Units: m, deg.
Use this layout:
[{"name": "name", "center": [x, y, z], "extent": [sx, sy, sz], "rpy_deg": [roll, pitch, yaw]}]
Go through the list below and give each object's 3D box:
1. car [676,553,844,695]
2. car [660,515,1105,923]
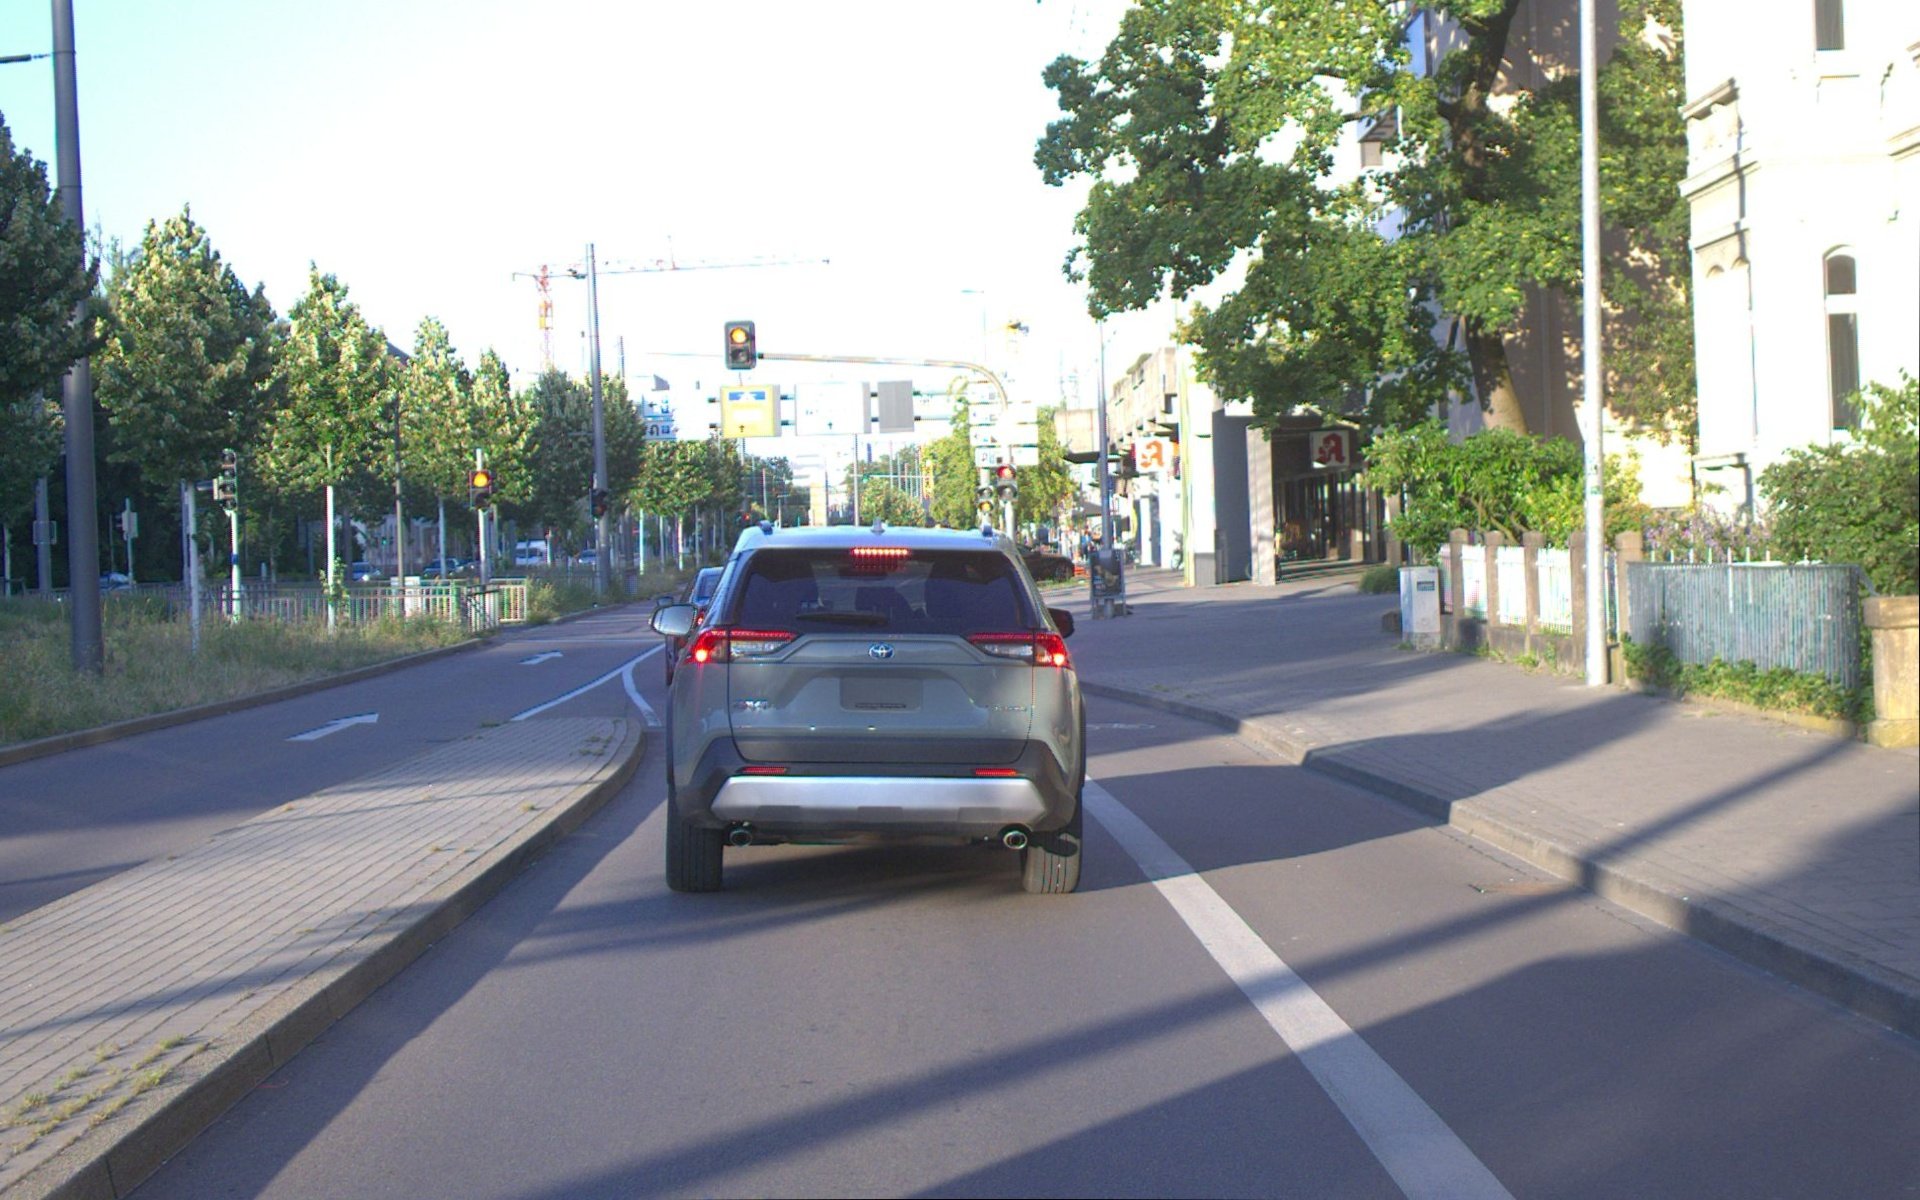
[{"name": "car", "center": [-2.304, 0.239, 40.133], "extent": [1.857, 1.546, 4.110], "rpy_deg": [0, 1, -2]}, {"name": "car", "center": [-0.411, 0.465, 16.487], "extent": [1.857, 1.708, 4.193], "rpy_deg": [0, 1, -2]}]
